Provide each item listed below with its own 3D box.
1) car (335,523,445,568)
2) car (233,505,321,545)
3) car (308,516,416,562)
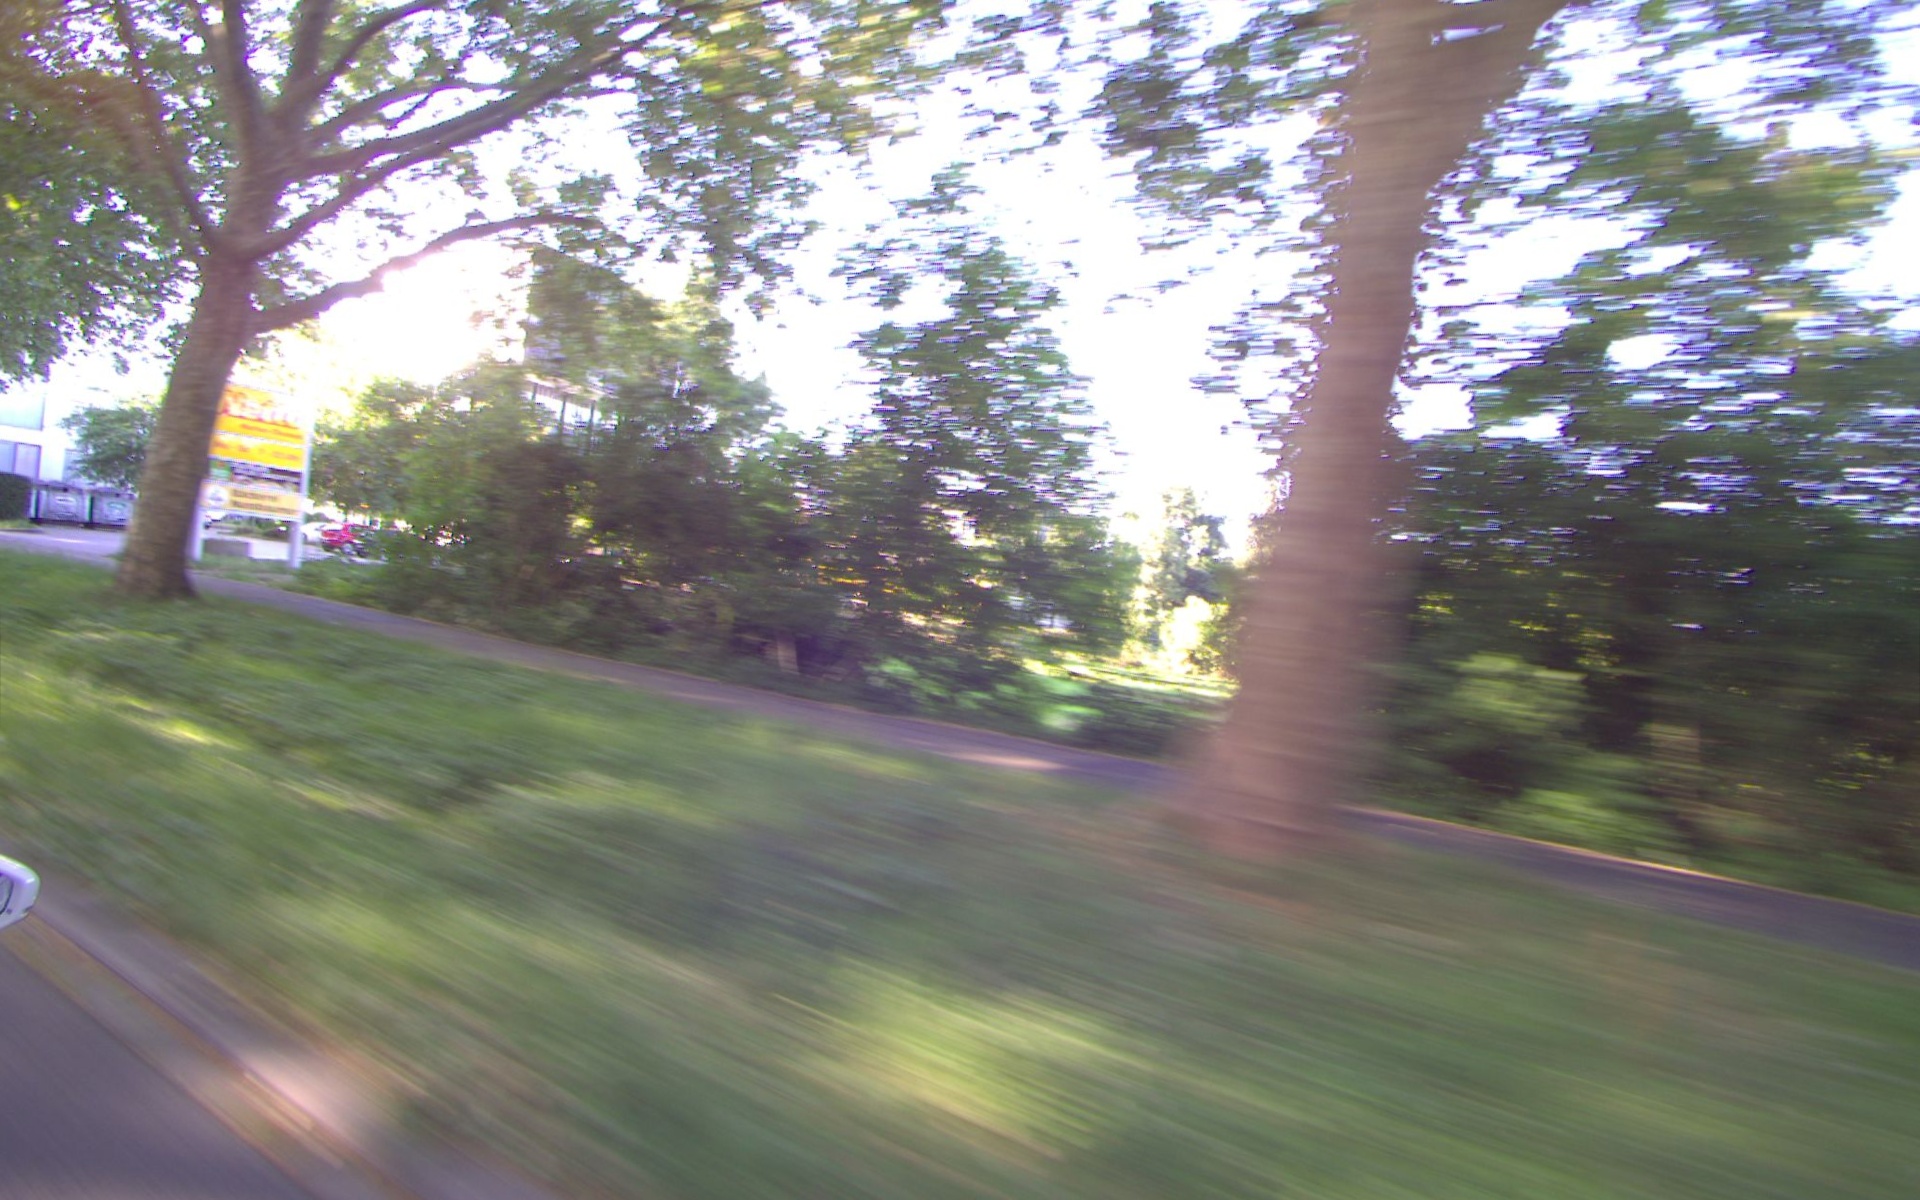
[{"bbox_3d":[-26.190,-2.501,46.345,1.831,1.458,3.996,7,0,27],"label":"car"},{"bbox_3d":[-41.990,-4.584,61.911,1.968,1.794,3.988,7,0,34],"label":"car"},{"bbox_3d":[-28.823,-2.911,48.607,1.831,1.586,3.997,7,-1,27],"label":"car"}]
